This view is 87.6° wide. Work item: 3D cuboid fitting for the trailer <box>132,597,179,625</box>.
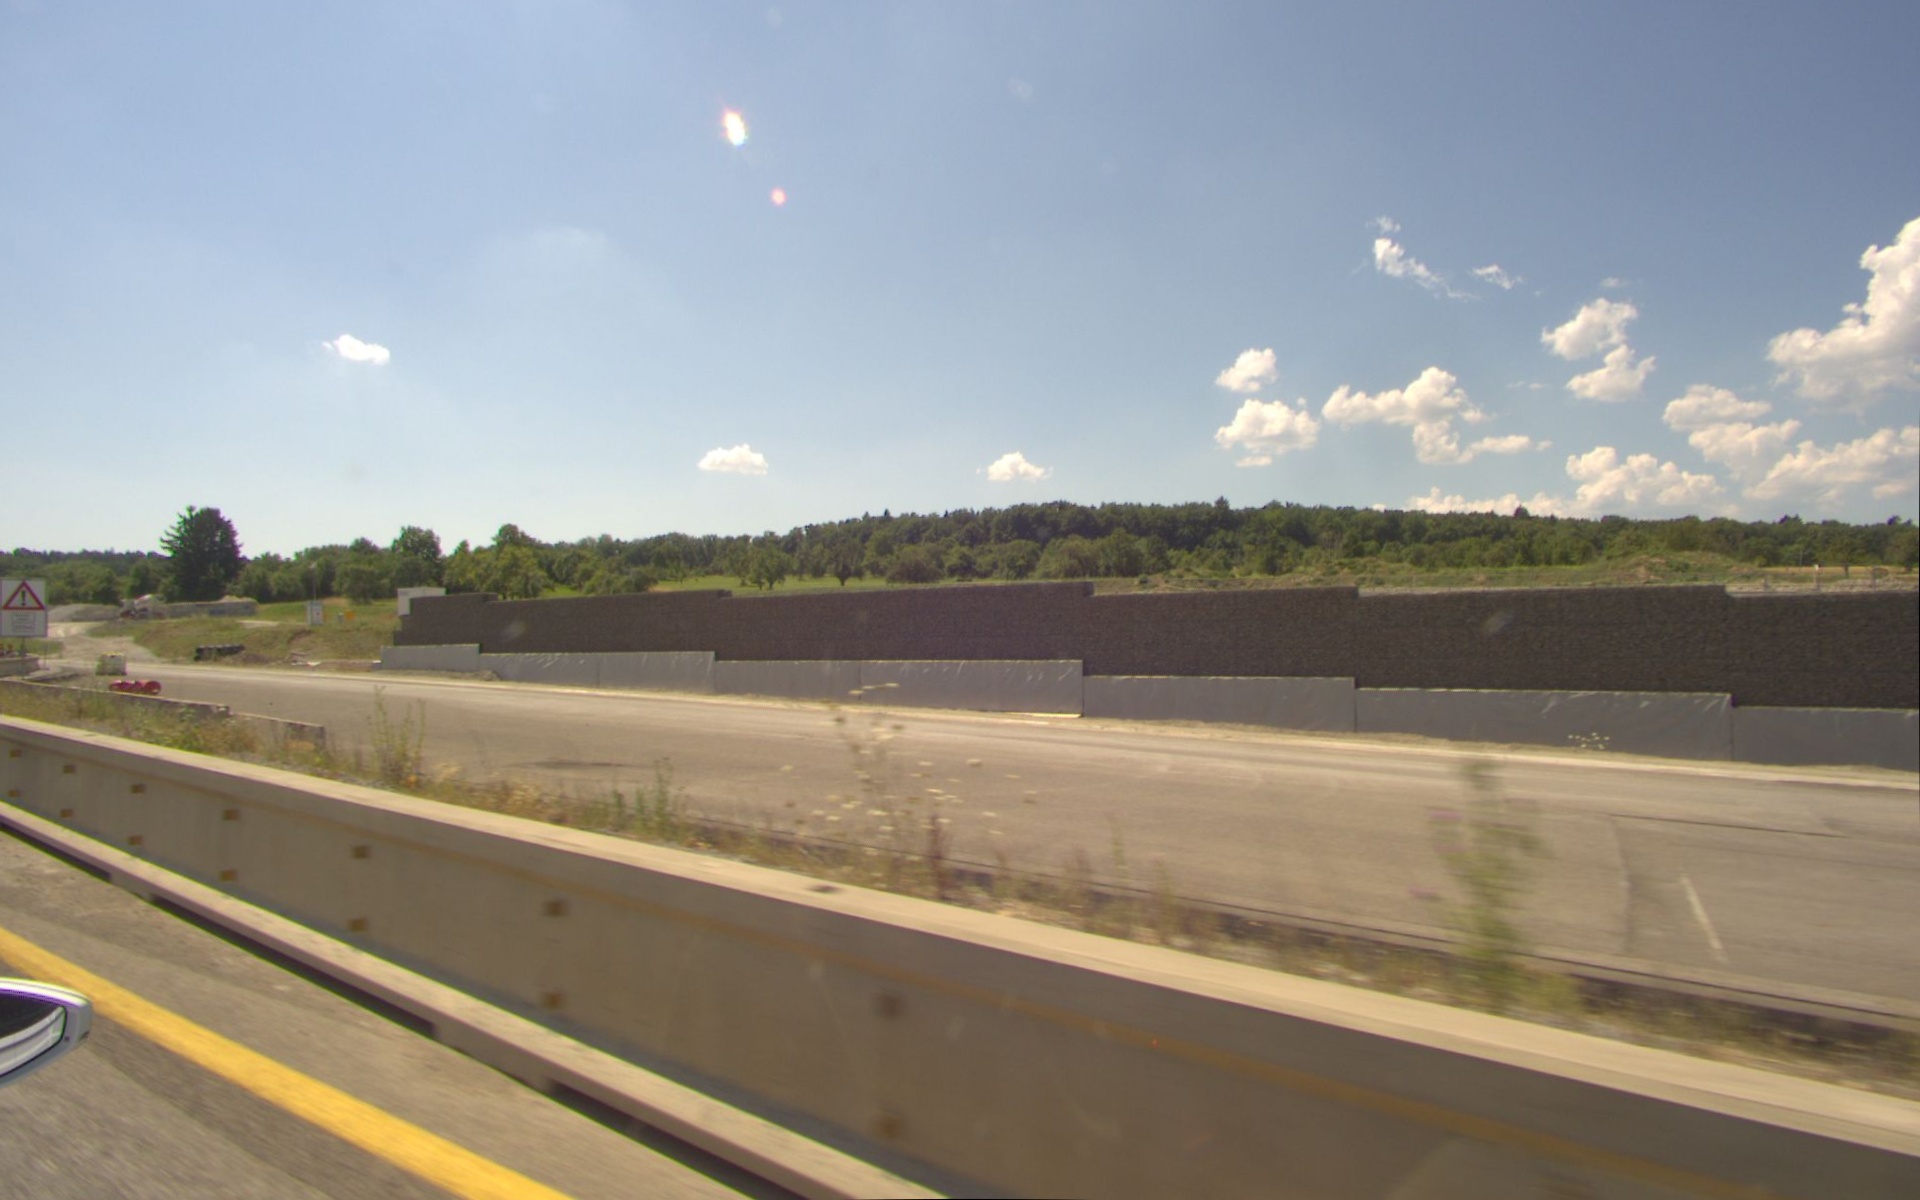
[{"bbox_3d":[-122.380,1.725,152.315,6.634,4.167,2.758,-1,-1,24],"label":"trailer"}]
